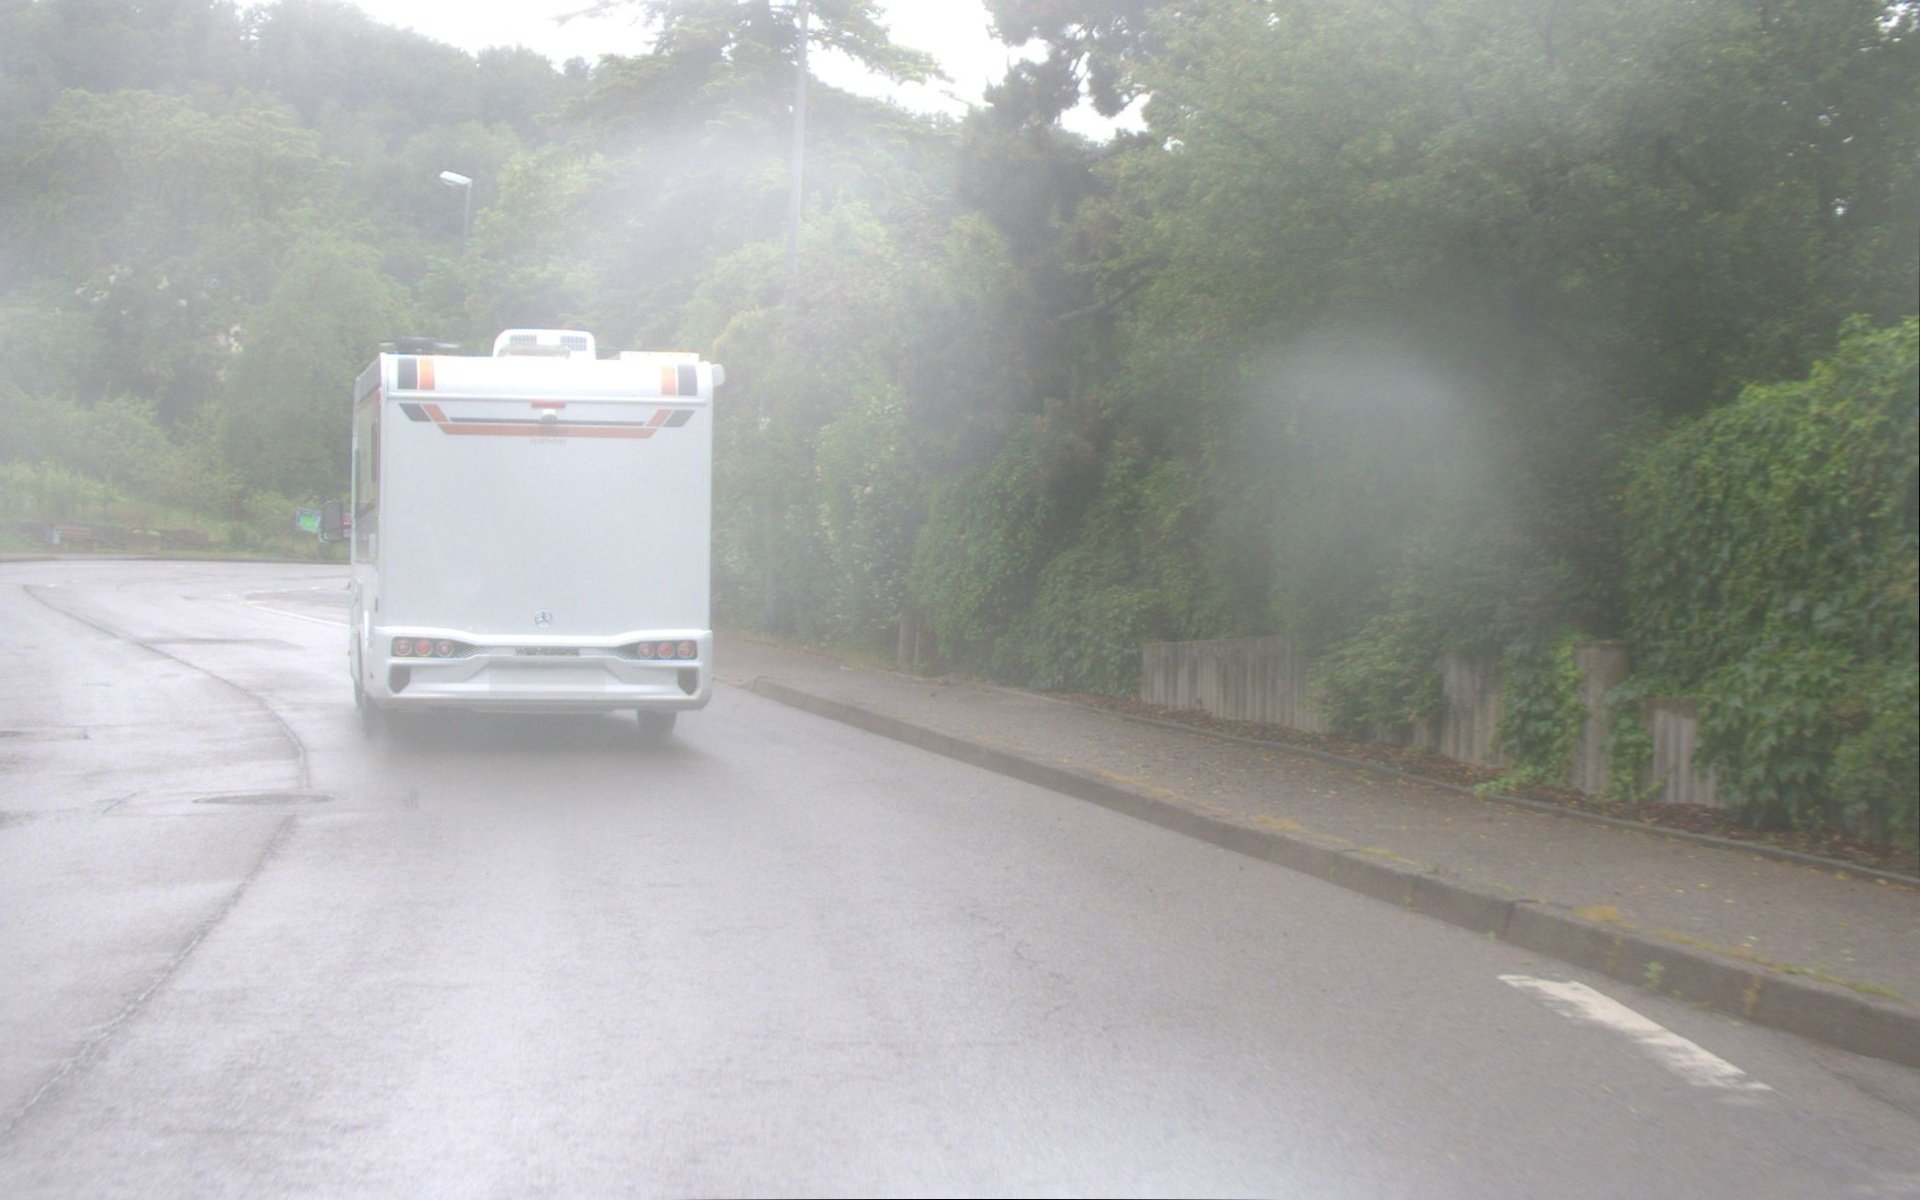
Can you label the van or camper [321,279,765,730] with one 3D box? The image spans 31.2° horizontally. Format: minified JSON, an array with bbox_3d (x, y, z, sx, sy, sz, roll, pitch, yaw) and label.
[{"bbox_3d":[-3.249,-0.610,25.357,2.615,2.843,6.033,2,0,-12],"label":"van or camper"}]
